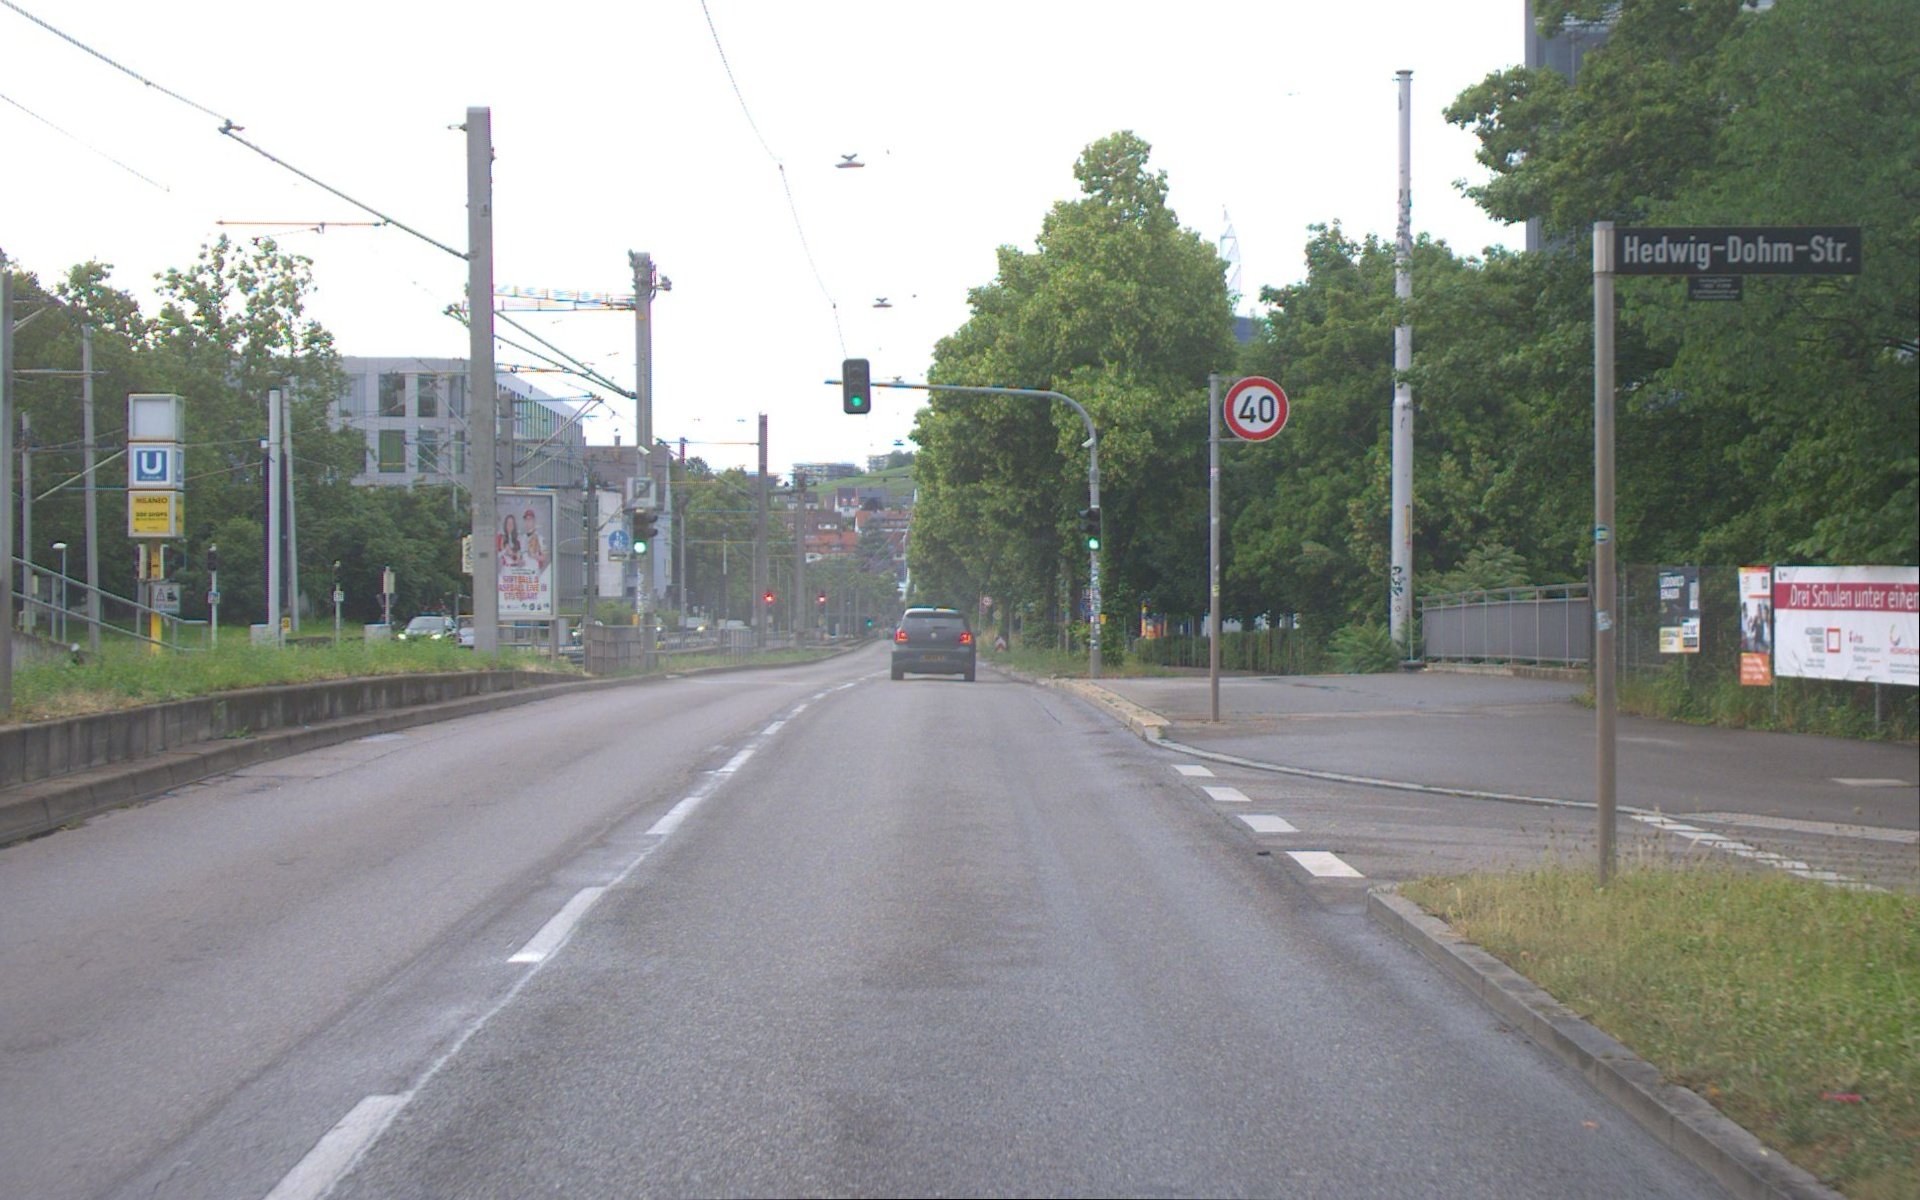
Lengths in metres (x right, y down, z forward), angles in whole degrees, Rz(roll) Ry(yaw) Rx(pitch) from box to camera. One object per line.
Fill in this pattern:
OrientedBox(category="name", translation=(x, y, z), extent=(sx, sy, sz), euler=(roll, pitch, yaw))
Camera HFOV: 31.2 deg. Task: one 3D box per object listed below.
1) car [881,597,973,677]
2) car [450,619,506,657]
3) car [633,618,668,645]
OrientedBox(category="car", translation=(-0.623, 0.731, 68.422), extent=(1.727, 1.535, 4.000), euler=(0, 0, 1))
OrientedBox(category="car", translation=(-23.393, 1.830, 166.884), extent=(1.850, 1.626, 3.811), euler=(3, 2, 4))
OrientedBox(category="car", translation=(-21.803, 2.217, 242.330), extent=(1.850, 1.626, 3.609), euler=(3, 2, 4))
